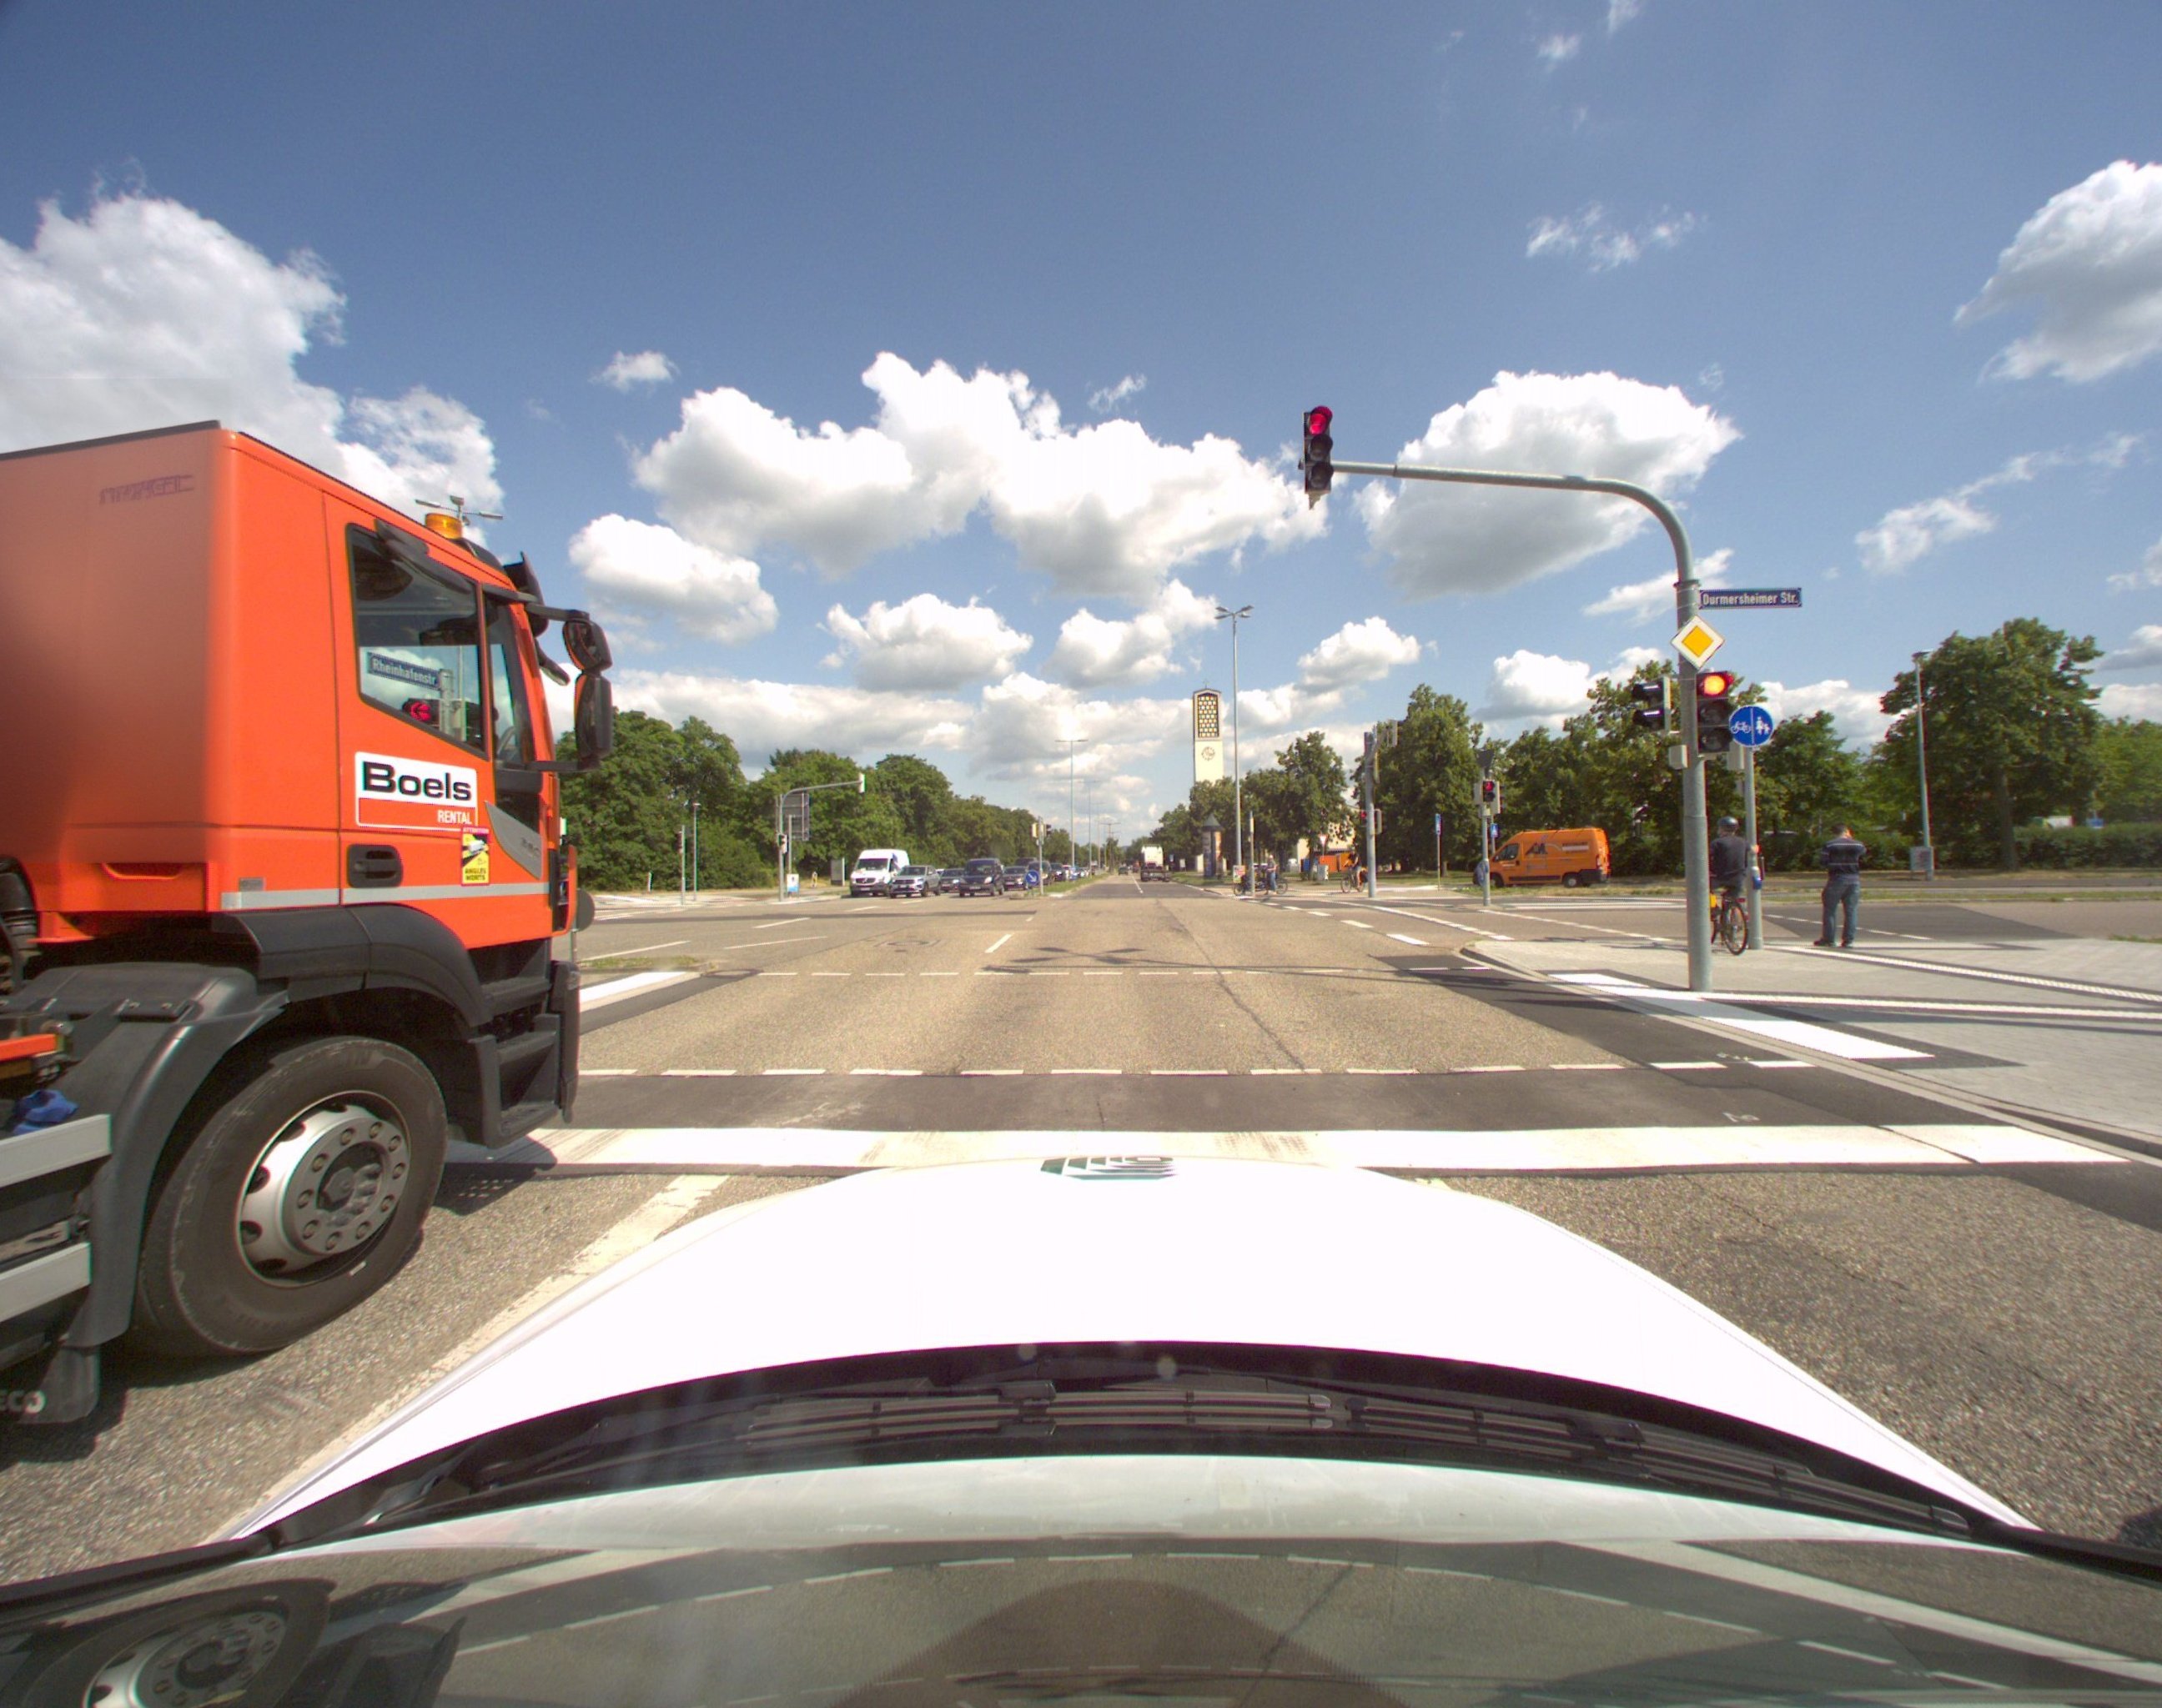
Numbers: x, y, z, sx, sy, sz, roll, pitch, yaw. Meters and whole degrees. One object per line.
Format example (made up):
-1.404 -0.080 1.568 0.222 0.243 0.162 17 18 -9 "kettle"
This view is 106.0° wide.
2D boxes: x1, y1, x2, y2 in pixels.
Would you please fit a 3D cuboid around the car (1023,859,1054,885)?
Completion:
-2.881 1.194 56.421 1.728 1.660 4.233 1 0 2 "car"

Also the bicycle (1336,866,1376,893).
11.631 1.047 34.449 2.014 1.093 0.677 0 -1 -41 "bicycle"

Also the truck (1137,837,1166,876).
7.587 0.368 86.842 2.944 3.971 8.651 -1 -2 6 "truck"

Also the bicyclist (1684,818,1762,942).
8.870 0.348 11.278 0.643 1.661 0.653 1 -1 16 "bicyclist"

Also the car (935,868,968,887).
-9.540 1.686 60.015 1.757 1.352 3.520 -1 -1 2 "car"

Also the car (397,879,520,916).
-27.239 1.890 35.828 4.011 1.530 1.981 2 -1 -30 "car"

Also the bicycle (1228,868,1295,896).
7.680 1.155 34.565 2.844 1.112 0.791 -1 -1 -22 "bicycle"

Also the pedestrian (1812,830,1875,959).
10.744 0.557 11.485 0.461 1.779 0.483 1 -1 11 "pedestrian"

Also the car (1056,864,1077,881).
-1.444 1.883 82.557 1.727 1.660 4.233 1 -1 3 "car"

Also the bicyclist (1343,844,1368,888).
11.593 0.508 34.426 0.793 1.804 0.677 0 -2 -41 "bicyclist"

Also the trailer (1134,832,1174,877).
7.188 0.151 78.952 3.602 4.012 11.336 -1 -2 6 "trailer"

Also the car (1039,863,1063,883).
-2.578 1.659 70.870 1.728 1.660 4.232 1 -1 2 "car"

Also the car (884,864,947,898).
-8.004 1.269 39.822 1.726 1.543 4.316 1 -1 6 "car"

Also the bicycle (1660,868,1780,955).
8.916 0.764 11.457 0.643 1.108 1.936 1 -1 16 "bicycle"

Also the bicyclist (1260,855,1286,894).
8.194 0.860 34.775 0.701 1.616 0.791 0 -1 -22 "bicyclist"

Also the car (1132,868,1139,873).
16.444 5.028 245.187 1.986 1.552 4.001 1 -1 2 "car"

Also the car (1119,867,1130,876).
8.043 3.248 152.112 1.986 1.552 4.001 1 -1 2 "car"

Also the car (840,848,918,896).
-10.987 0.980 44.819 2.163 2.471 5.976 1 -1 6 "car"

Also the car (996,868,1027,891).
-4.088 1.476 48.467 1.563 1.316 3.431 1 -1 0 "car"

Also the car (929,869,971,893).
-7.581 1.544 47.555 1.757 1.352 3.520 -1 -1 2 "car"

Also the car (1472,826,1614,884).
19.113 0.067 33.813 4.798 2.226 2.225 0 -2 41 "car"

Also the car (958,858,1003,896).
-4.612 1.043 37.944 1.730 1.660 4.226 1 -1 -3 "car"

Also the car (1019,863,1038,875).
-5.301 1.498 82.021 1.542 1.217 3.491 1 -1 2 "car"
